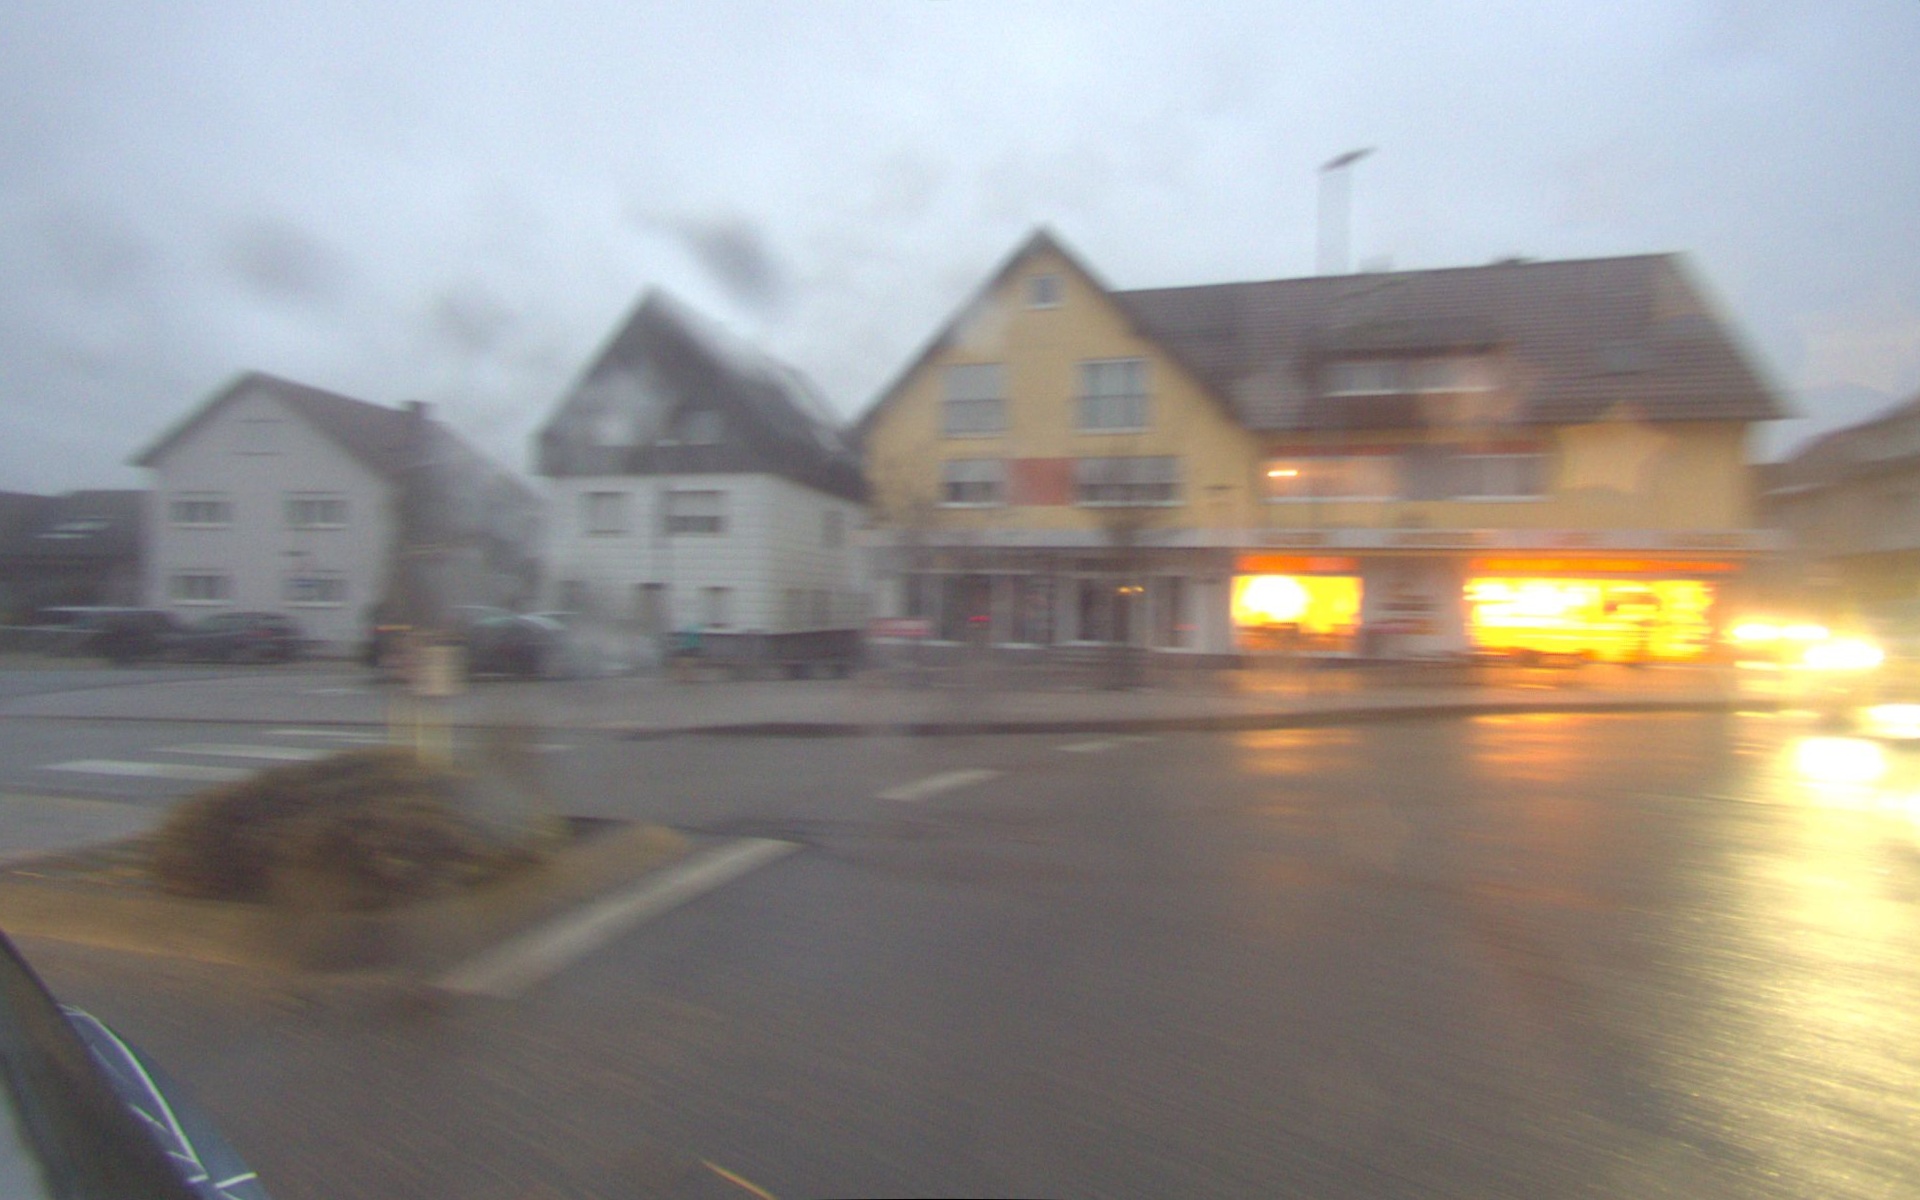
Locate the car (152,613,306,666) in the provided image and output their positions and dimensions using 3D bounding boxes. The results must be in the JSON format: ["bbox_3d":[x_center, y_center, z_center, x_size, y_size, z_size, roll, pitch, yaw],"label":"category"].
[{"bbox_3d":[-23.677,1.250,32.849,4.049,1.581,1.774,0,0,11],"label":"car"}]

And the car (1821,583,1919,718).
[{"bbox_3d":[13.274,0.674,13.314,4.556,1.605,1.958,2,-3,-36],"label":"car"}]

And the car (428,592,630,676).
[{"bbox_3d":[-9.114,0.747,21.771,3.830,1.683,1.846,1,-3,-18],"label":"car"}]

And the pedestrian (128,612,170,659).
[{"bbox_3d":[-22.207,0.970,27.718,0.596,1.259,0.690,0,-1,12],"label":"pedestrian"}]

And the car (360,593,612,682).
[{"bbox_3d":[-8.827,0.687,19.175,4.108,1.542,1.920,1,-1,-22],"label":"car"}]

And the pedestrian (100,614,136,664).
[{"bbox_3d":[-22.317,1.034,26.844,0.592,1.312,0.513,0,-1,-21],"label":"pedestrian"}]

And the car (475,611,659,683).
[{"bbox_3d":[-9.359,1.122,24.443,3.933,1.644,1.769,0,-3,-14],"label":"car"}]

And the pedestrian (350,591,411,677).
[{"bbox_3d":[-11.775,0.693,20.580,0.829,1.725,0.725,0,-3,-4],"label":"pedestrian"}]

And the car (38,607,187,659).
[{"bbox_3d":[-28.620,1.094,34.237,3.913,1.673,1.700,0,0,8],"label":"car"}]
